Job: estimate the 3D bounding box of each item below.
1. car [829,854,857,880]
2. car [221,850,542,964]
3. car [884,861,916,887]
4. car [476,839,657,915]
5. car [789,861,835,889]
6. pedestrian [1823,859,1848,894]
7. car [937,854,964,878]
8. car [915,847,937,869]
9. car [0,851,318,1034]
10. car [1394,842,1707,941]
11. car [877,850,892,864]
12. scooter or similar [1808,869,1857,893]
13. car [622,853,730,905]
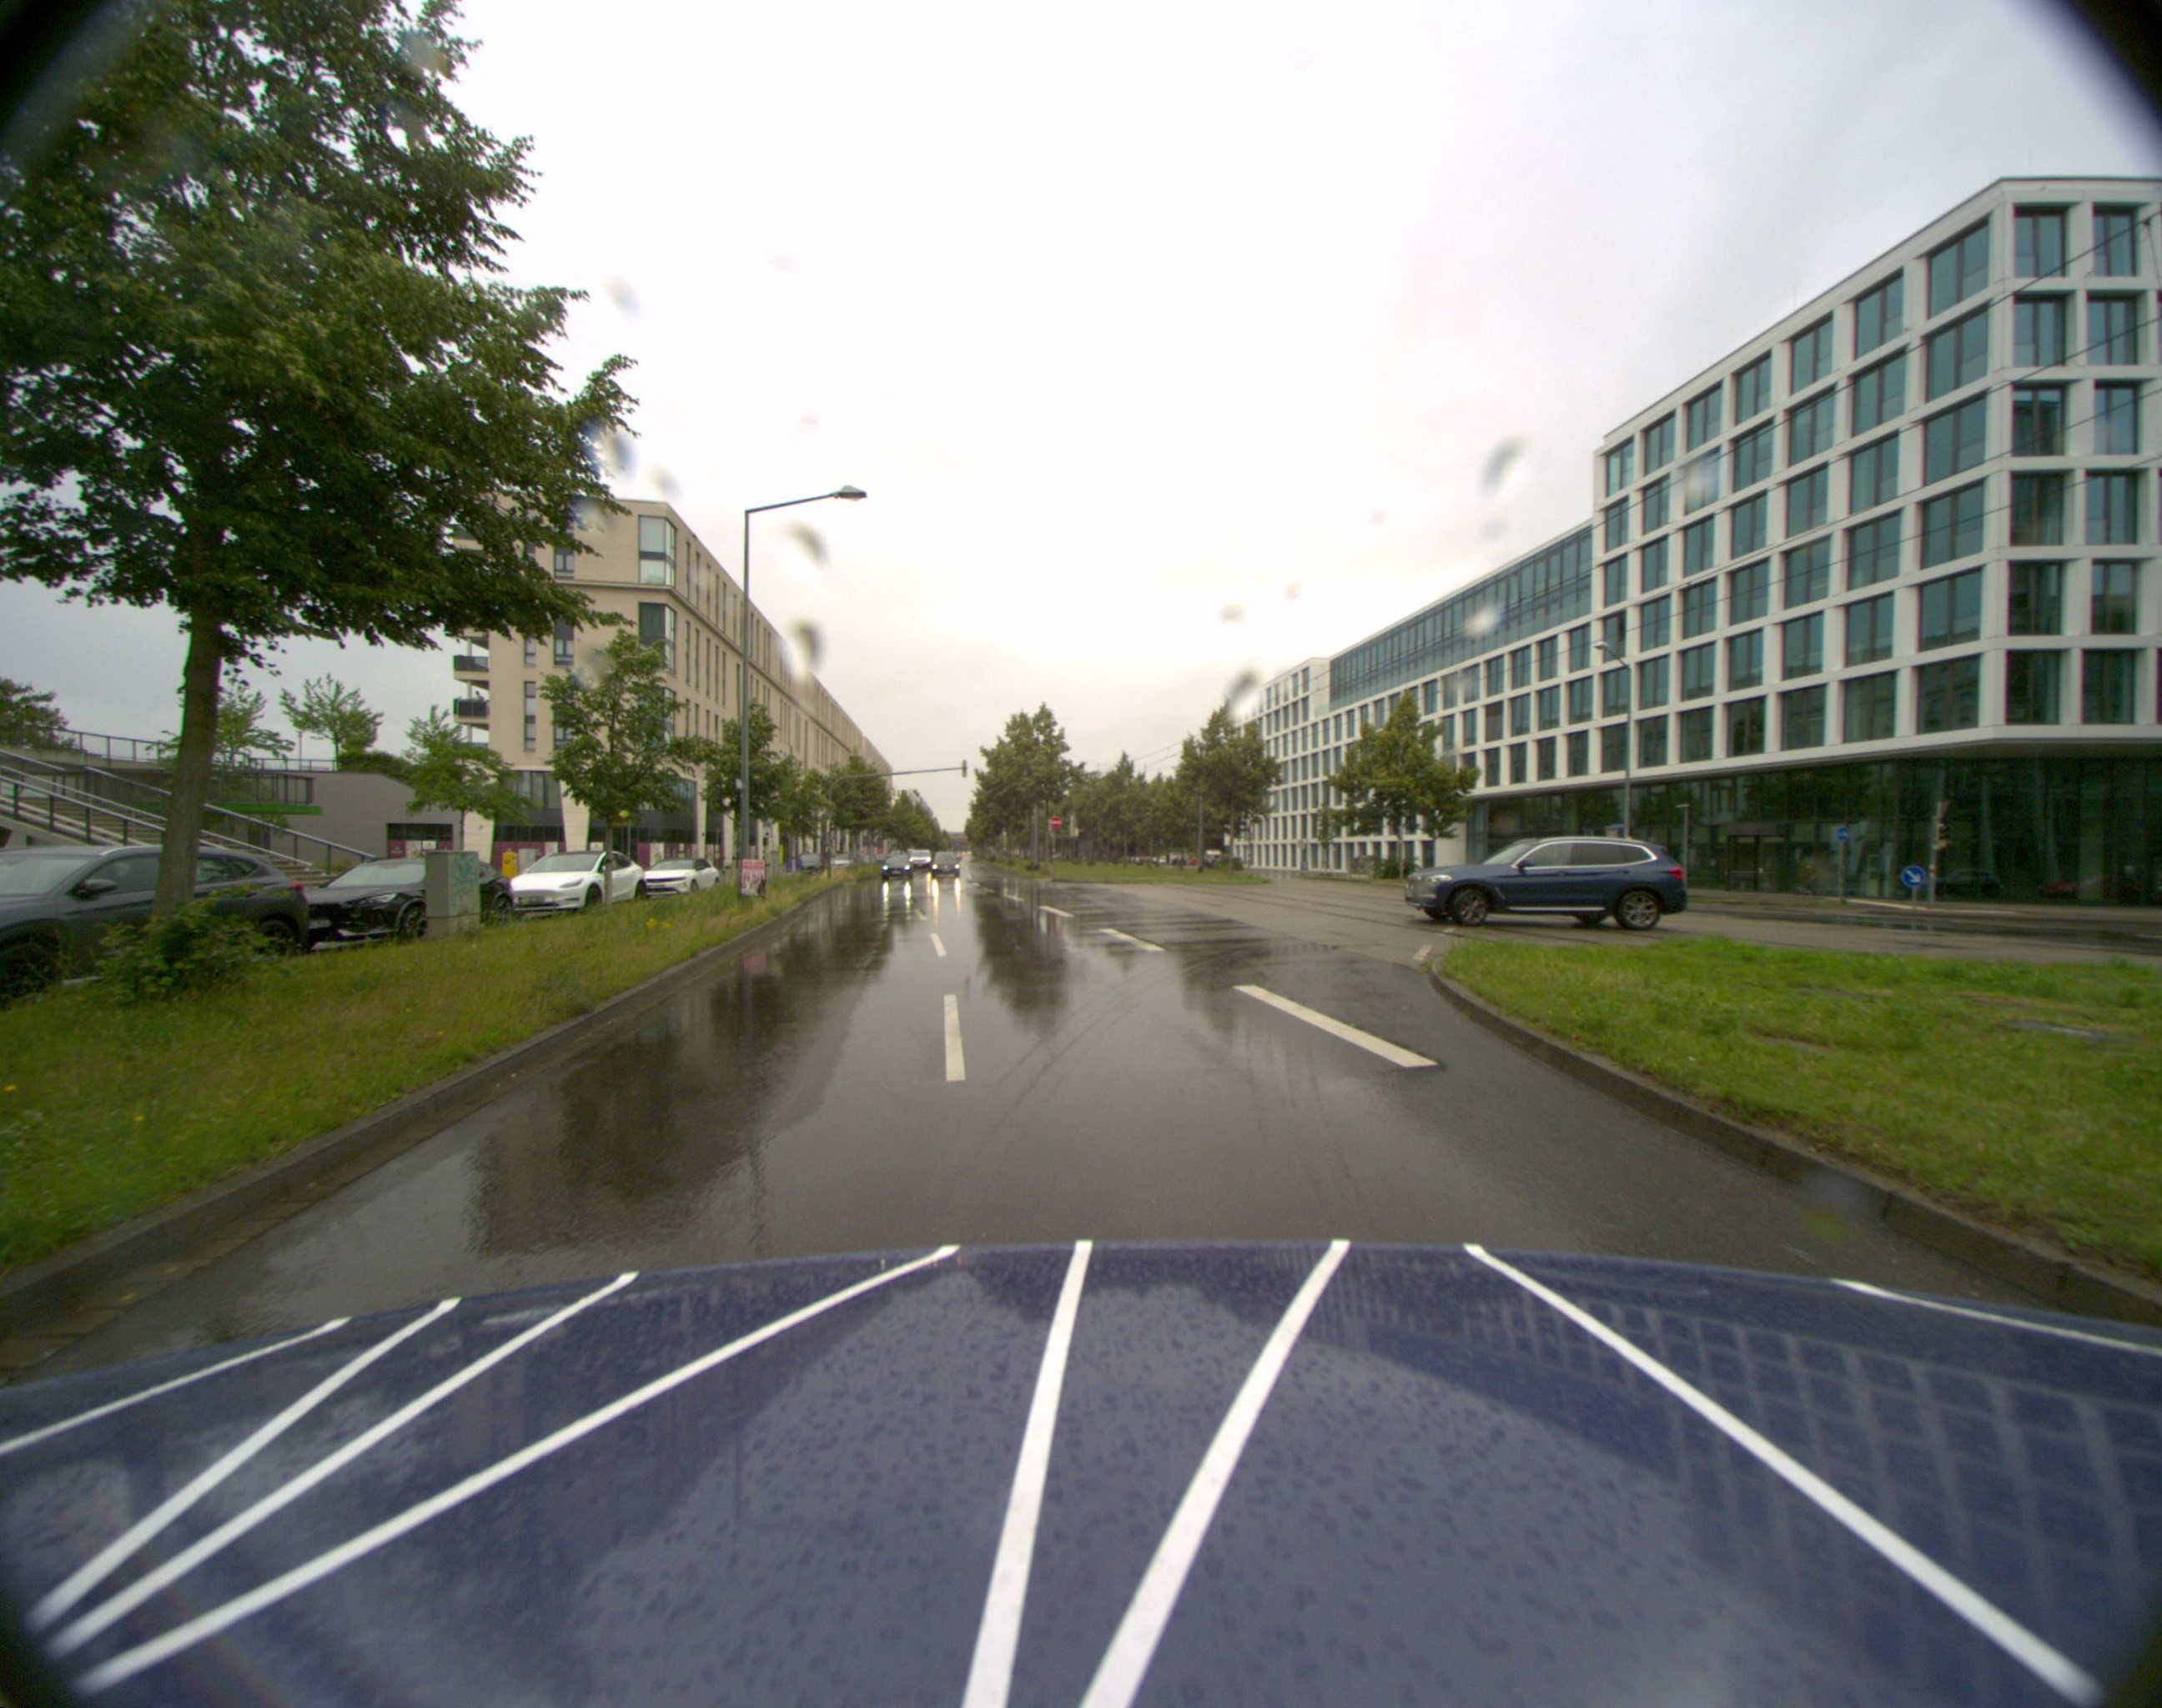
[{"bbox_3d":[-19.017,1.080,60.828,1.917,2.001,3.996,0,-1,-13],"label":"car"},{"bbox_3d":[-12.183,0.851,13.813,2.000,1.697,4.721,0,-2,-9],"label":"car"},{"bbox_3d":[-10.994,1.227,46.403,1.688,1.520,3.966,0,-2,-10],"label":"car"},{"bbox_3d":[-12.911,0.579,19.514,2.000,1.697,4.836,0,-2,-9],"label":"car"},{"bbox_3d":[-17.393,1.372,49.386,2.000,1.697,4.836,0,-2,-9],"label":"car"},{"bbox_3d":[36.901,1.098,37.171,0.635,1.634,0.545,1,2,-7],"label":"pedestrian"},{"bbox_3d":[-8.503,0.791,49.417,1.658,1.520,3.773,0,-1,-10],"label":"car"},{"bbox_3d":[-14.414,0.419,70.742,1.758,1.914,3.998,0,-1,-8],"label":"car"},{"bbox_3d":[-11.249,0.855,8.295,2.000,1.697,4.215,0,-1,-9],"label":"car"},{"bbox_3d":[8.715,0.639,14.583,4.707,1.651,1.931,1,1,11],"label":"car"},{"bbox_3d":[-23.611,0.389,91.292,1.644,1.579,3.926,0,-2,-13],"label":"car"},{"bbox_3d":[36.825,1.328,37.231,2.163,1.145,0.550,0,-1,-10],"label":"scooter or similar"},{"bbox_3d":[-14.479,0.891,27.500,2.000,1.697,4.836,0,-2,-9],"label":"car"}]
